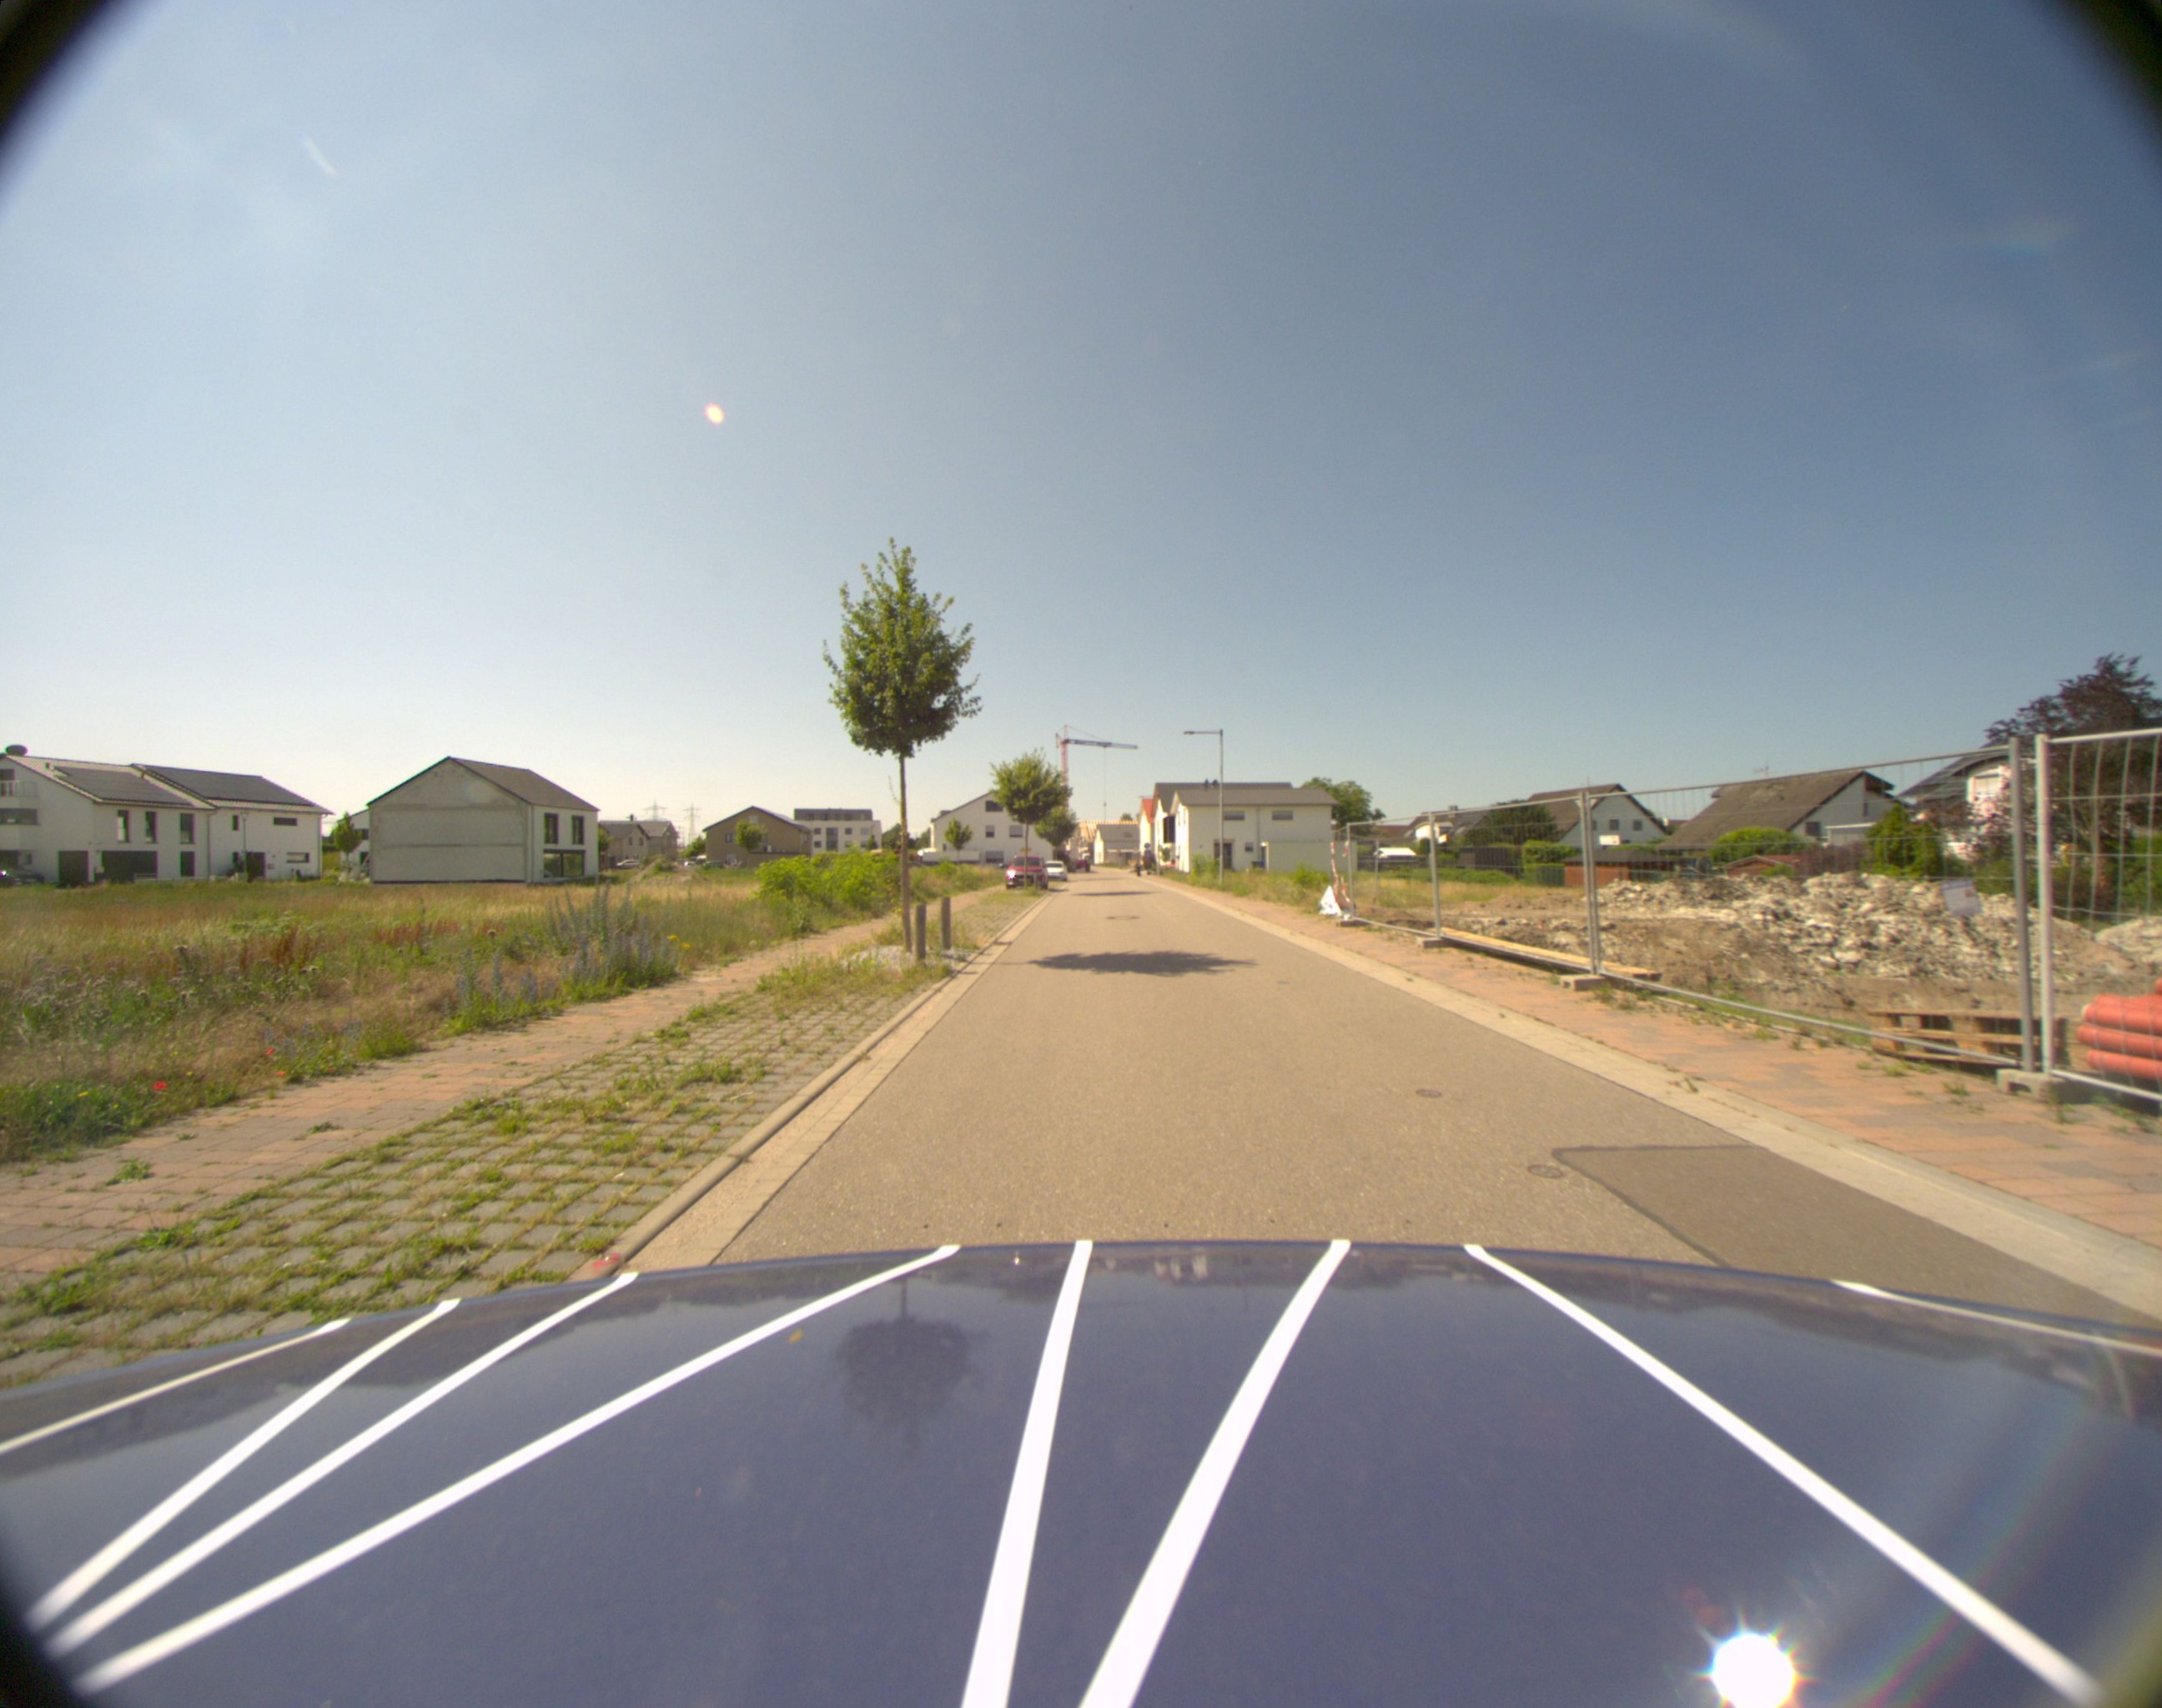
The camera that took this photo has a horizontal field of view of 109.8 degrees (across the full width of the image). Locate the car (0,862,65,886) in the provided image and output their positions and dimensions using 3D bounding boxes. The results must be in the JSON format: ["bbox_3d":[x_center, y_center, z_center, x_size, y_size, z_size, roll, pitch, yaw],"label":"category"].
[{"bbox_3d":[-69.402,1.326,49.610,3.995,1.503,1.816,-1,0,5],"label":"car"}]

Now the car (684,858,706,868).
[{"bbox_3d":[-59.525,1.430,117.143,1.750,1.493,3.997,0,0,-8],"label":"car"}]

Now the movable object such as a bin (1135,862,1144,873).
[{"bbox_3d":[5.009,1.178,65.065,0.625,0.943,0.500,-1,1,-4],"label":"movable object such as a bin"}]

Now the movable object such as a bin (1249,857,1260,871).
[{"bbox_3d":[13.748,0.785,60.132,0.661,1.092,0.785,0,1,0],"label":"movable object such as a bin"}]

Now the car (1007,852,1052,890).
[{"bbox_3d":[-2.394,0.786,36.179,1.781,1.653,4.434,1,0,0],"label":"car"}]

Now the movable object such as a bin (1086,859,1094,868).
[{"bbox_3d":[1.097,1.098,91.483,0.823,1.058,0.589,-1,1,-4],"label":"movable object such as a bin"}]

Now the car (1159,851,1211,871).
[{"bbox_3d":[9.996,0.652,73.180,4.749,1.864,1.938,0,0,-2],"label":"car"}]

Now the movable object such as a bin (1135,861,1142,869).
[{"bbox_3d":[6.198,1.194,81.905,0.618,0.931,0.564,-1,0,-4],"label":"movable object such as a bin"}]

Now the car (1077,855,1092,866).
[{"bbox_3d":[0.431,0.940,109.755,1.911,1.470,3.998,-1,1,-3],"label":"car"}]

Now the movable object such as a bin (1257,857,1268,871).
[{"bbox_3d":[14.377,0.777,60.250,0.671,1.092,0.808,0,0,2],"label":"movable object such as a bin"}]

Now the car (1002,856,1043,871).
[{"bbox_3d":[-6.283,0.982,82.238,4.348,1.549,1.960,-1,0,-1],"label":"car"}]

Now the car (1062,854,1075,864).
[{"bbox_3d":[-2.130,0.779,129.245,1.804,1.609,3.672,-1,1,-9],"label":"car"}]

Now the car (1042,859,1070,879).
[{"bbox_3d":[-1.813,1.103,56.246,1.779,1.411,4.166,1,0,1],"label":"car"}]
